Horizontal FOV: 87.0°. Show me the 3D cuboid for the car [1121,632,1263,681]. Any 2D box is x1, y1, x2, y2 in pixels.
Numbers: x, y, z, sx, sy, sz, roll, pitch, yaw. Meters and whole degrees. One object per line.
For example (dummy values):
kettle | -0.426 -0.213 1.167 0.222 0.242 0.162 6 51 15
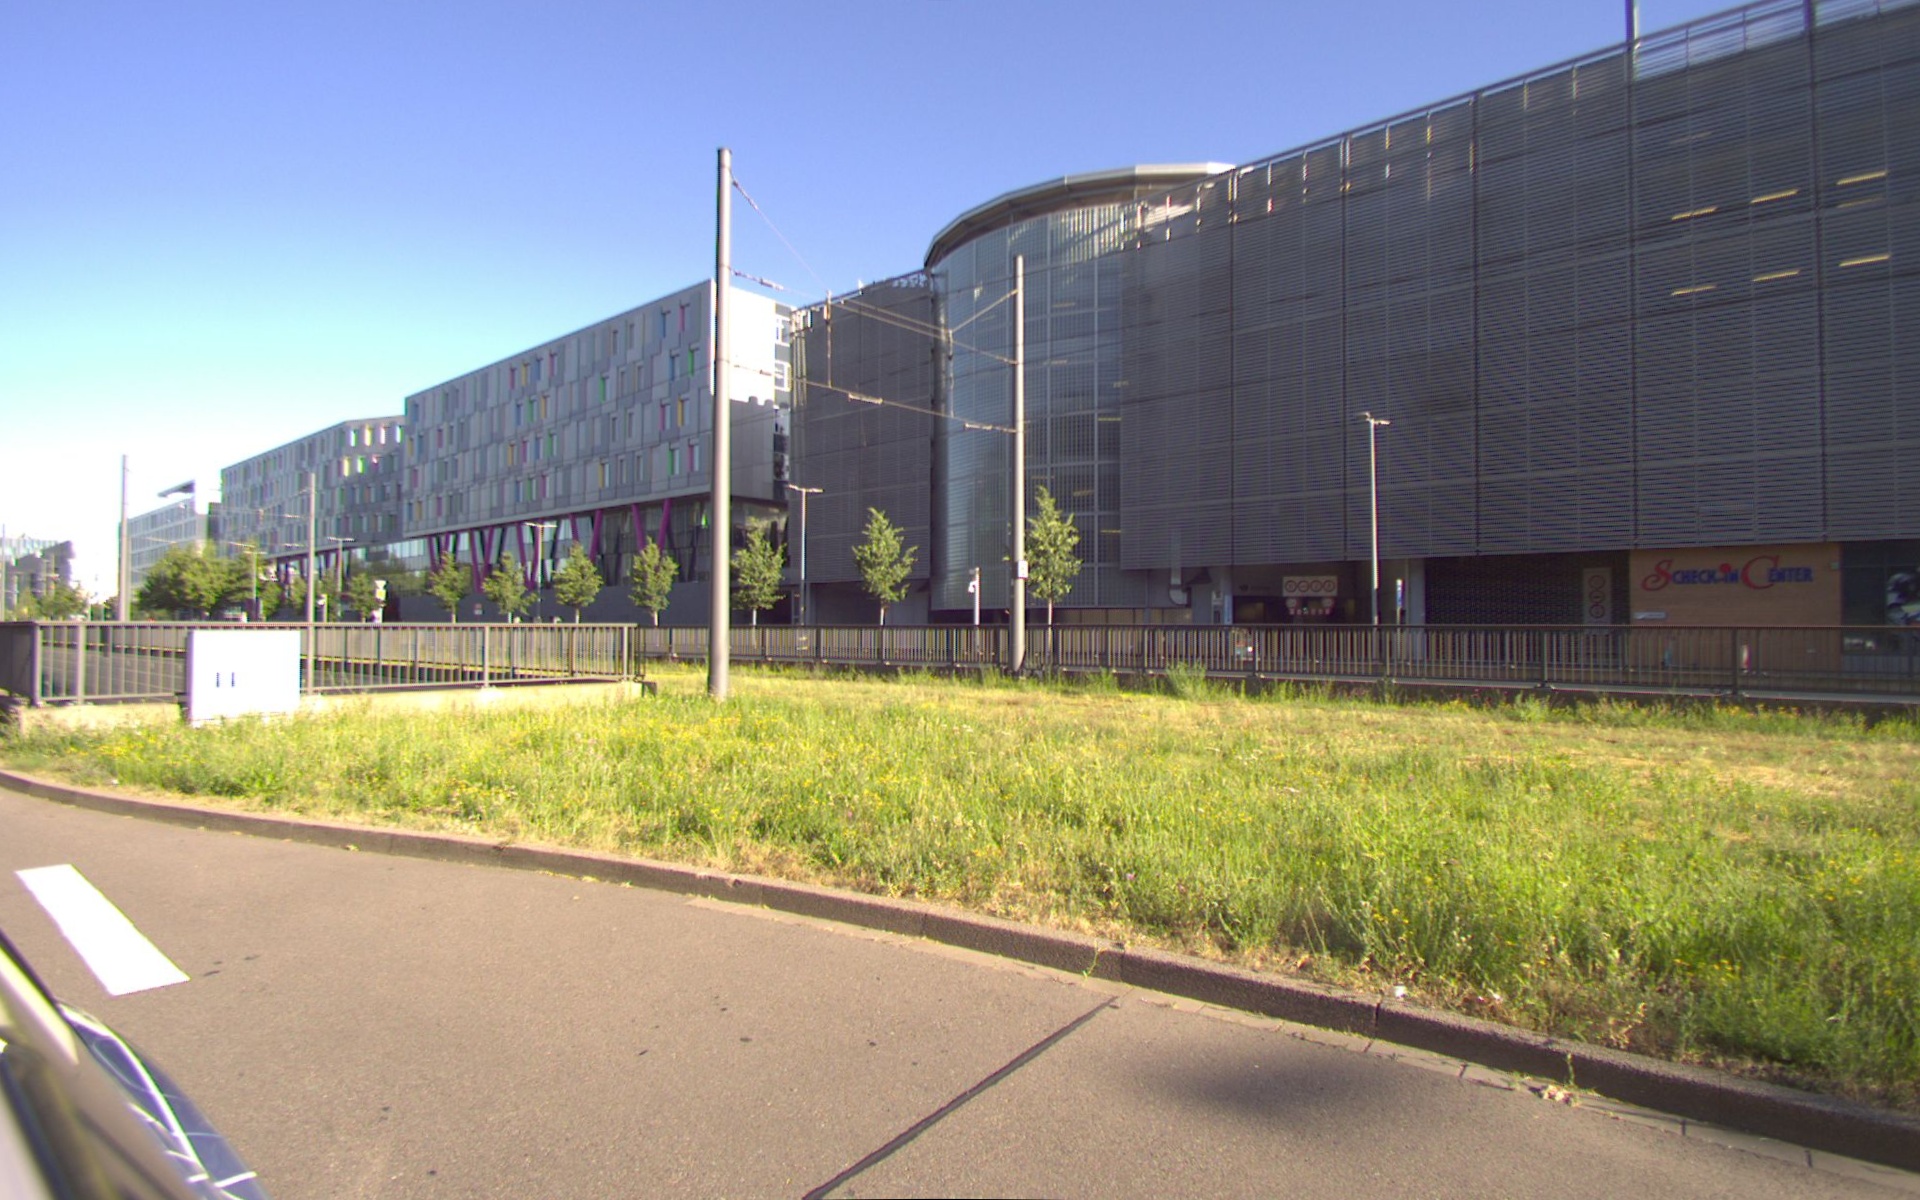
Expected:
car | 7.758 1.845 34.005 4.242 1.512 1.972 -2 -2 42
